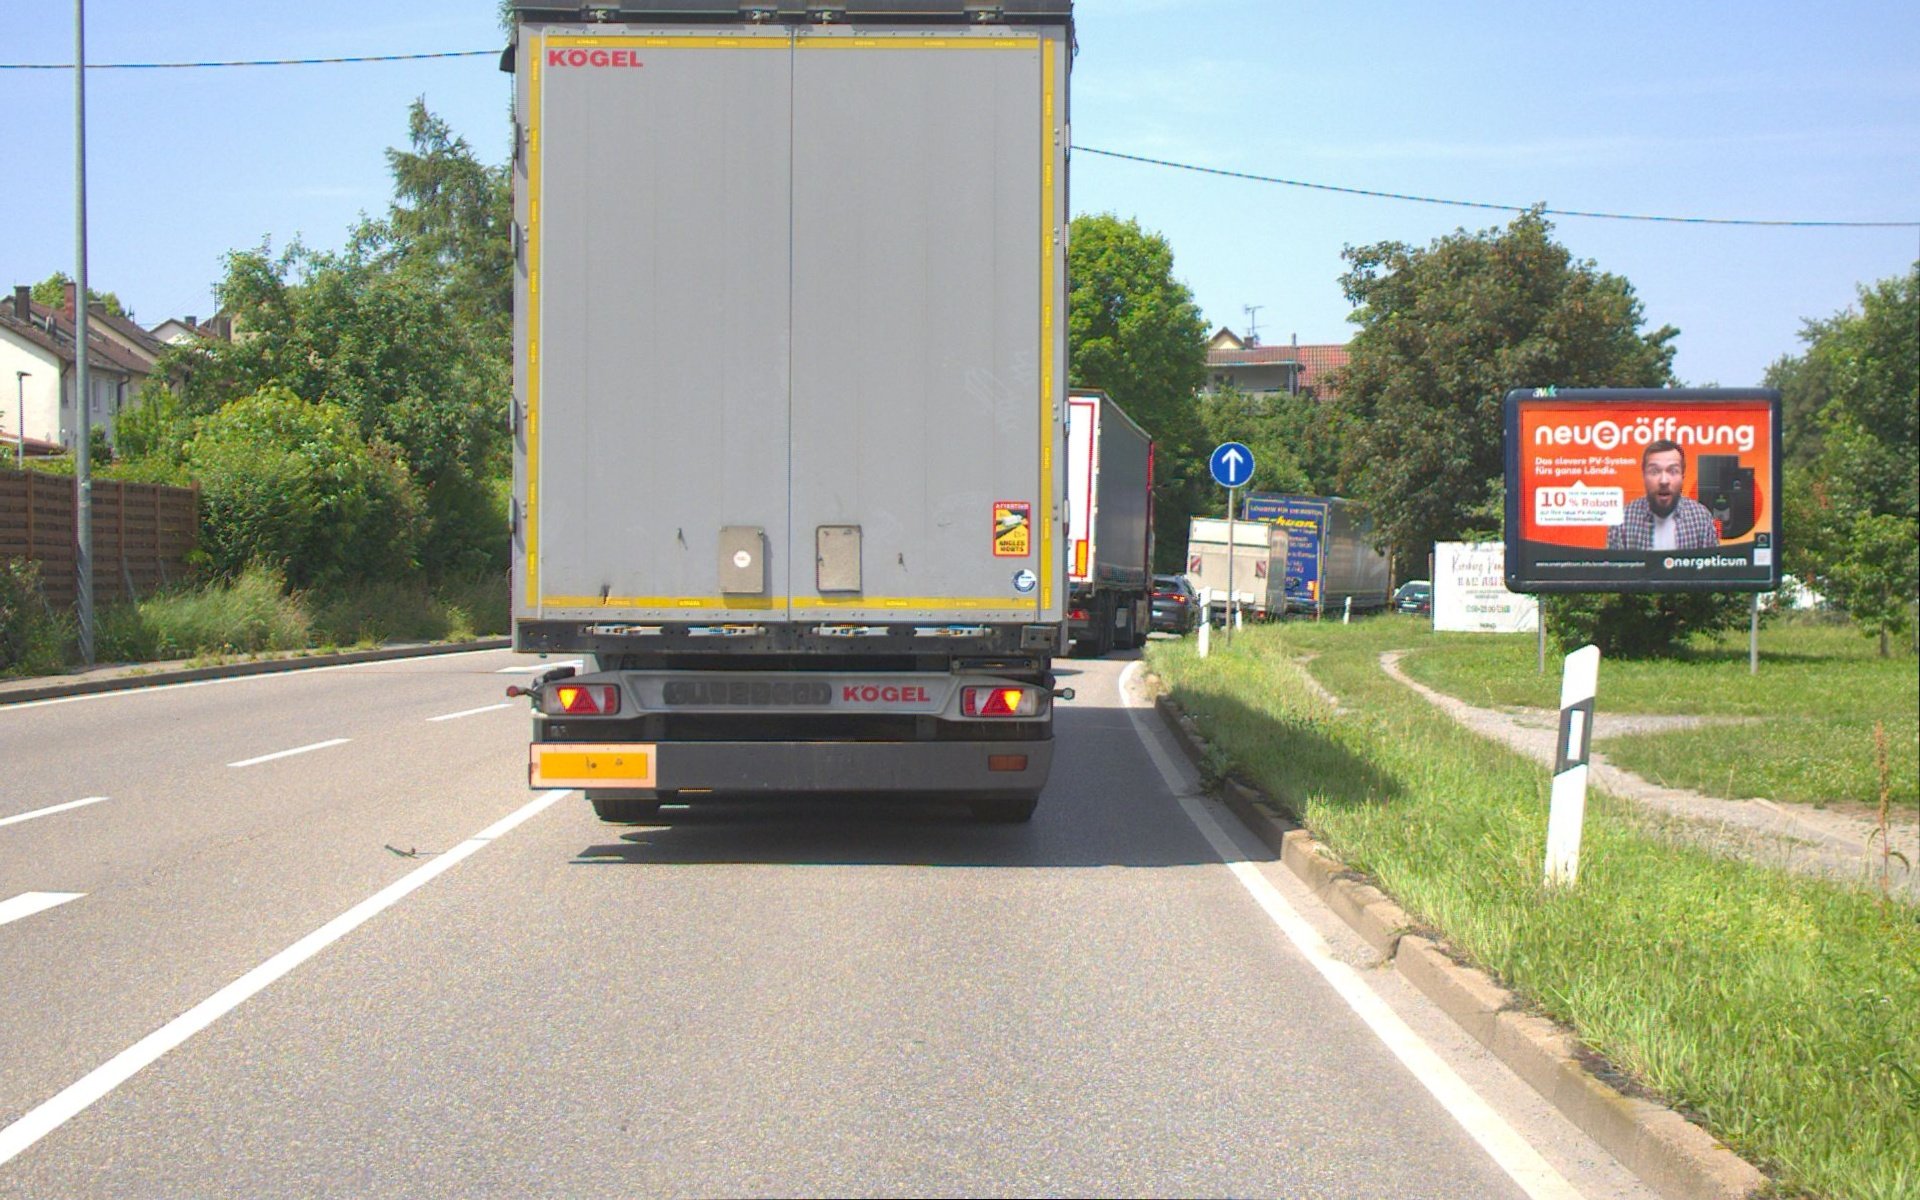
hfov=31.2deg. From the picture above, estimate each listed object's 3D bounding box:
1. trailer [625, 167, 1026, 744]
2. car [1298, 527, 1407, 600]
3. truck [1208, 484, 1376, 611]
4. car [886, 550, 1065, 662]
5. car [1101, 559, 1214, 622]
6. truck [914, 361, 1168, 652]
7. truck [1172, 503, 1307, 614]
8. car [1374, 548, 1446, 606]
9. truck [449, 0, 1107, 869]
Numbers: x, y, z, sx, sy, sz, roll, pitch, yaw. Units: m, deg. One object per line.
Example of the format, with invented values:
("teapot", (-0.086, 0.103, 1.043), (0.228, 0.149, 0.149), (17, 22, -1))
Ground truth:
("trailer", (-0.954, -1.097, 27.887), (2.825, 4.097, 6.544), (1, 1, 0))
("car", (12.896, -1.199, 112.548), (2.533, 2.269, 6.376), (1, 1, 16))
("truck", (10.071, -1.616, 103.285), (3.435, 3.592, 9.347), (1, 1, 15))
("car", (0.249, 0.071, 44.581), (1.819, 1.342, 3.846), (1, 0, 7))
("car", (4.589, -0.218, 79.373), (1.994, 1.371, 3.998), (1, 0, 12))
("truck", (1.689, -1.394, 59.216), (2.761, 4.274, 16.411), (1, 0, 7))
("truck", (7.485, -1.069, 91.474), (2.545, 2.793, 6.028), (1, 0, 14))
("car", (16.323, -0.814, 124.584), (1.995, 2.007, 3.997), (1, 0, 16))
("truck", (-0.896, -0.984, 20.925), (2.822, 4.113, 11.444), (1, 1, -1))
